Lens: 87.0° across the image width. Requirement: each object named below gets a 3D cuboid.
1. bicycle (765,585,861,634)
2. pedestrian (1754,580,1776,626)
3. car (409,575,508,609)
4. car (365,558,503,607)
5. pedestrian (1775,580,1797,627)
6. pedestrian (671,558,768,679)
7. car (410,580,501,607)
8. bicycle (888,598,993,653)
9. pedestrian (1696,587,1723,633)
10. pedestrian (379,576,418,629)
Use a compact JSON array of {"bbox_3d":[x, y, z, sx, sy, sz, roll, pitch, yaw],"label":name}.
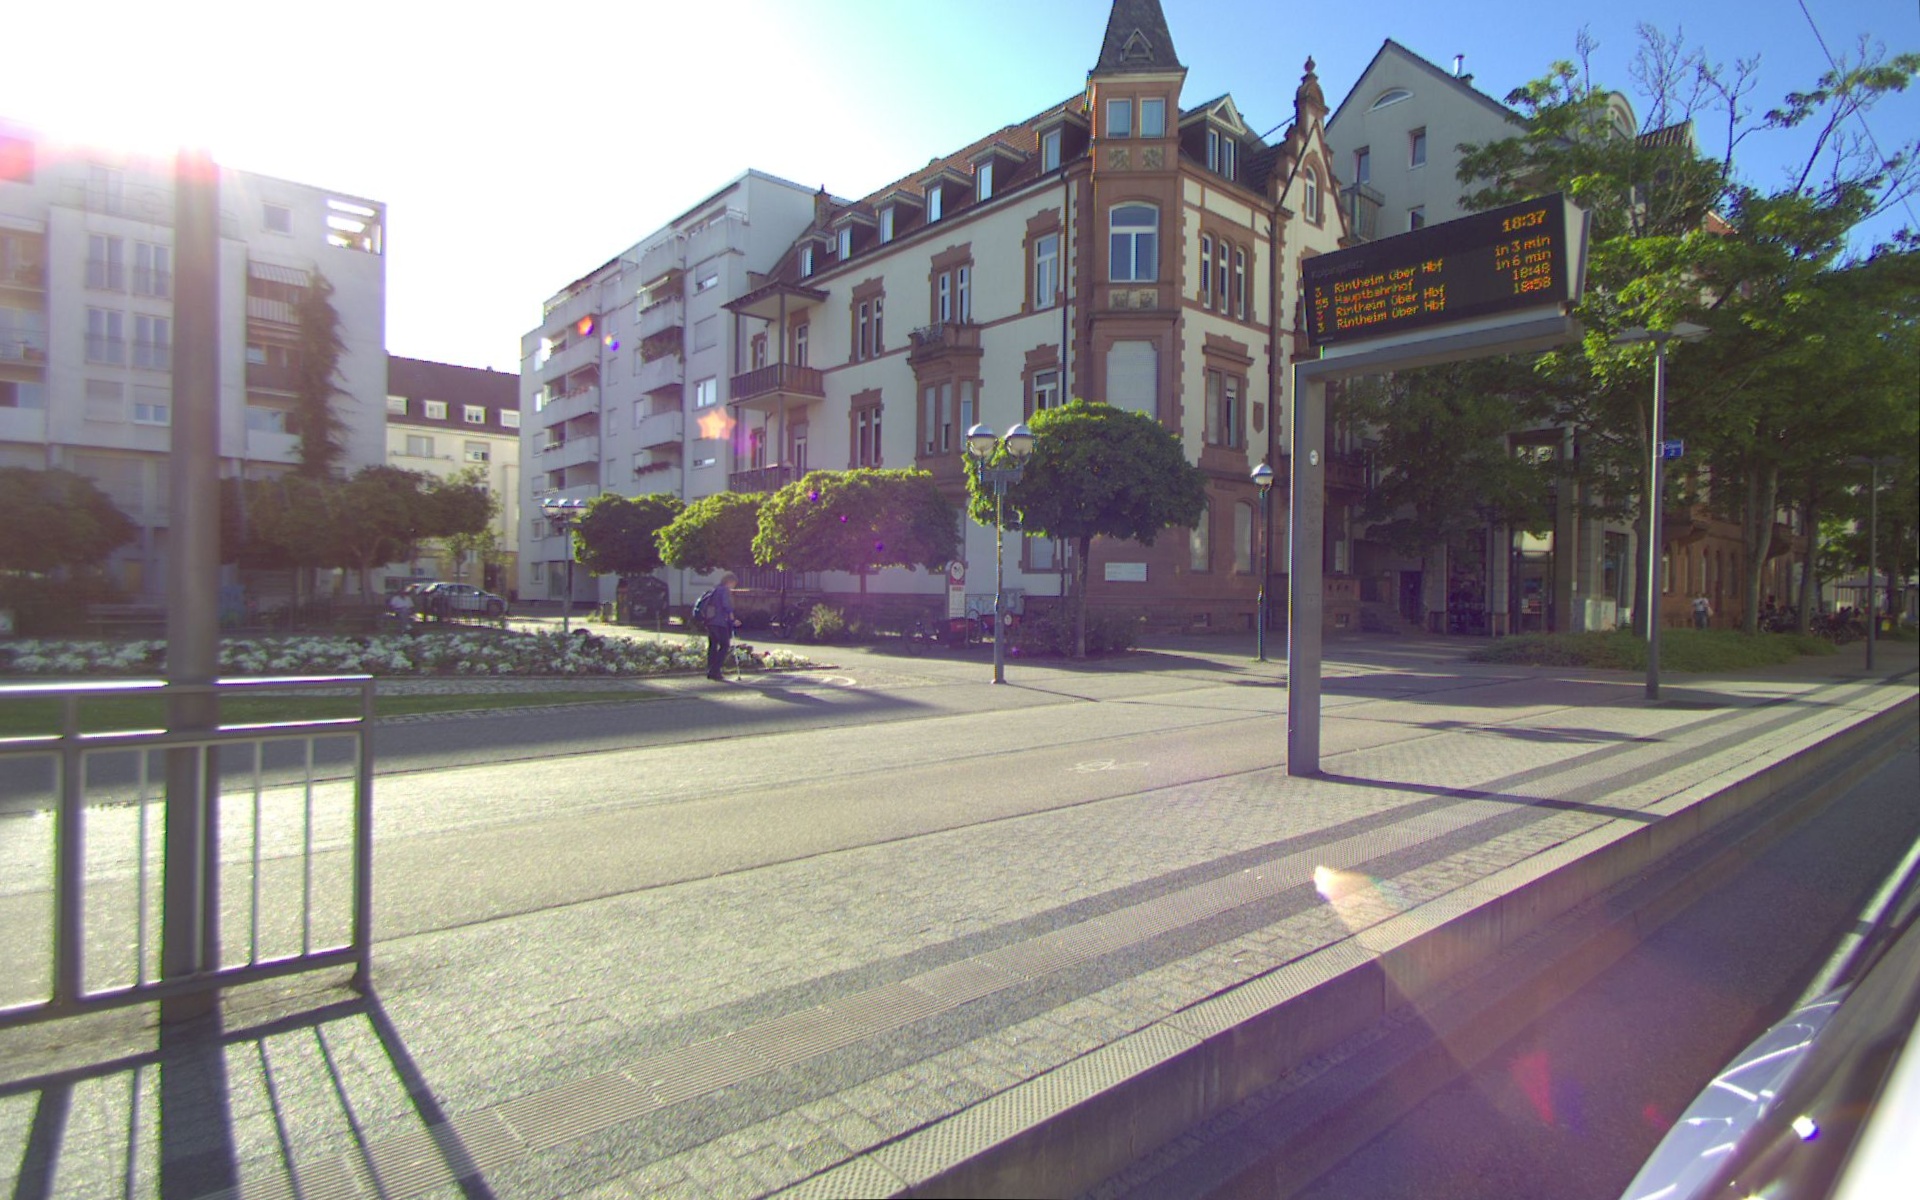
[{"bbox_3d":[-4.320,0.278,29.944,2.864,1.389,0.745,0,0,-41],"label":"bicycle"},{"bbox_3d":[36.102,0.138,45.373,0.549,2.039,0.654,0,0,-38],"label":"pedestrian"},{"bbox_3d":[-23.269,-0.371,46.990,3.923,1.536,2.001,0,1,-34],"label":"car"},{"bbox_3d":[-29.227,-0.946,56.396,6.292,2.587,2.807,0,1,-45],"label":"car"},{"bbox_3d":[36.538,0.147,44.769,0.549,2.039,0.654,0,0,-38],"label":"pedestrian"},{"bbox_3d":[-3.549,0.250,14.937,1.064,1.689,0.944,1,0,37],"label":"pedestrian"},{"bbox_3d":[-25.677,-0.338,51.565,3.923,1.304,2.001,0,1,-34],"label":"car"},{"bbox_3d":[-0.402,0.549,23.173,0.786,1.081,2.767,1,2,40],"label":"bicycle"},{"bbox_3d":[29.400,0.377,39.689,0.740,1.757,0.864,1,0,43],"label":"pedestrian"},{"bbox_3d":[-15.784,0.063,28.454,0.917,1.429,1.529,0,0,-30],"label":"pedestrian"}]
